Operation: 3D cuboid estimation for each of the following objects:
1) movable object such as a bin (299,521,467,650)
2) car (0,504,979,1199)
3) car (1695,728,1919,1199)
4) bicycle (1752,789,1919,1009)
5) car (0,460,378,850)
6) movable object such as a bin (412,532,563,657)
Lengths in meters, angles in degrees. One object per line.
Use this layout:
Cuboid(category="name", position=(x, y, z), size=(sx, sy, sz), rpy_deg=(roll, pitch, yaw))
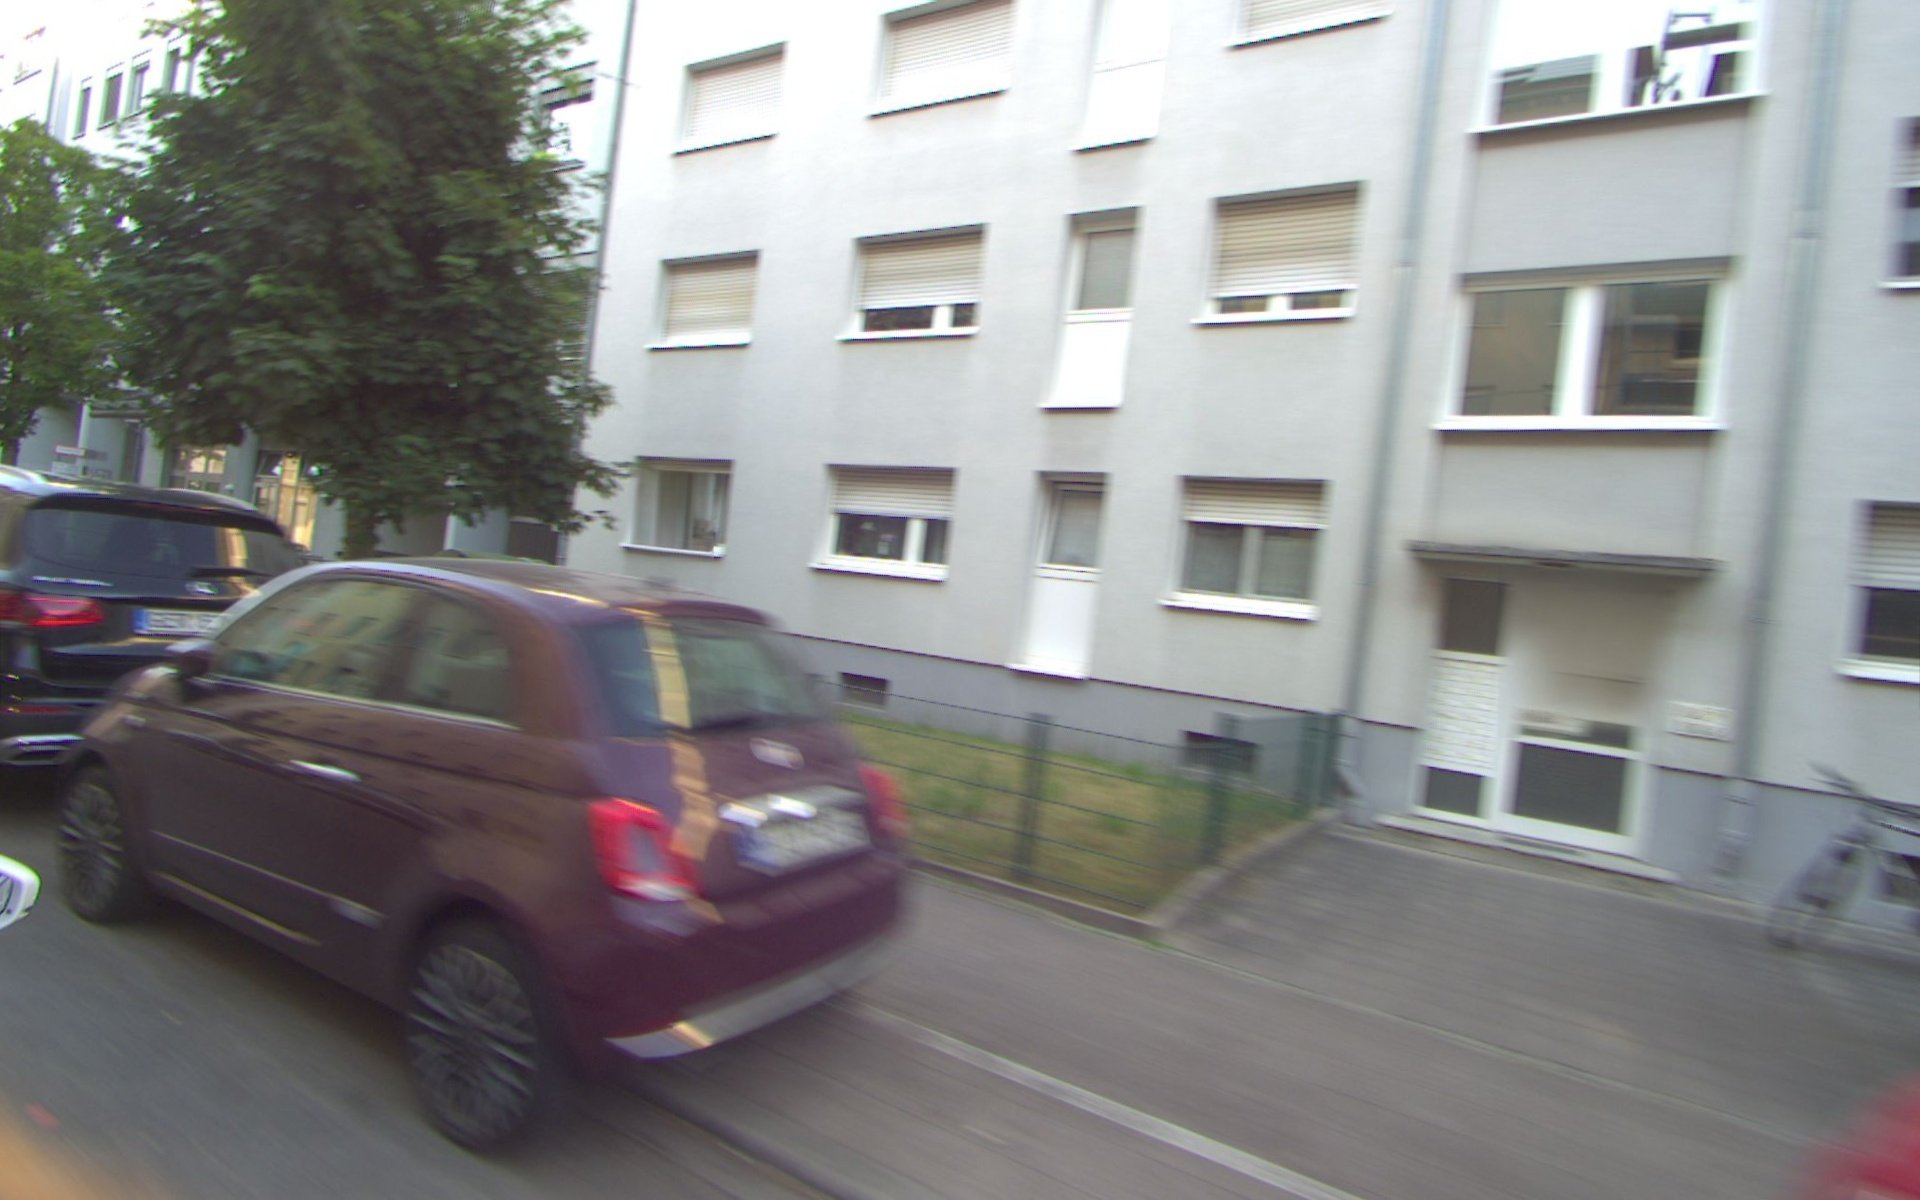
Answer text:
Cuboid(category="movable object such as a bin", position=(-6.894, -0.158, 12.057), size=(1.120, 1.337, 1.263), rpy_deg=(6, -1, 31))
Cuboid(category="car", position=(-1.957, 0.577, 3.874), size=(3.591, 1.501, 1.678), rpy_deg=(6, 0, 31))
Cuboid(category="car", position=(2.933, 1.156, 0.792), size=(3.591, 1.501, 1.678), rpy_deg=(6, 0, 31))
Cuboid(category="bicycle", position=(5.939, 1.854, 6.002), size=(1.708, 1.104, 0.602), rpy_deg=(6, 0, 21))
Cuboid(category="car", position=(-5.737, 0.082, 5.967), size=(4.644, 1.655, 1.873), rpy_deg=(6, 0, 31))
Cuboid(category="movable object such as a bin", position=(-6.175, -0.057, 13.184), size=(1.120, 1.454, 1.263), rpy_deg=(6, 0, 31))
